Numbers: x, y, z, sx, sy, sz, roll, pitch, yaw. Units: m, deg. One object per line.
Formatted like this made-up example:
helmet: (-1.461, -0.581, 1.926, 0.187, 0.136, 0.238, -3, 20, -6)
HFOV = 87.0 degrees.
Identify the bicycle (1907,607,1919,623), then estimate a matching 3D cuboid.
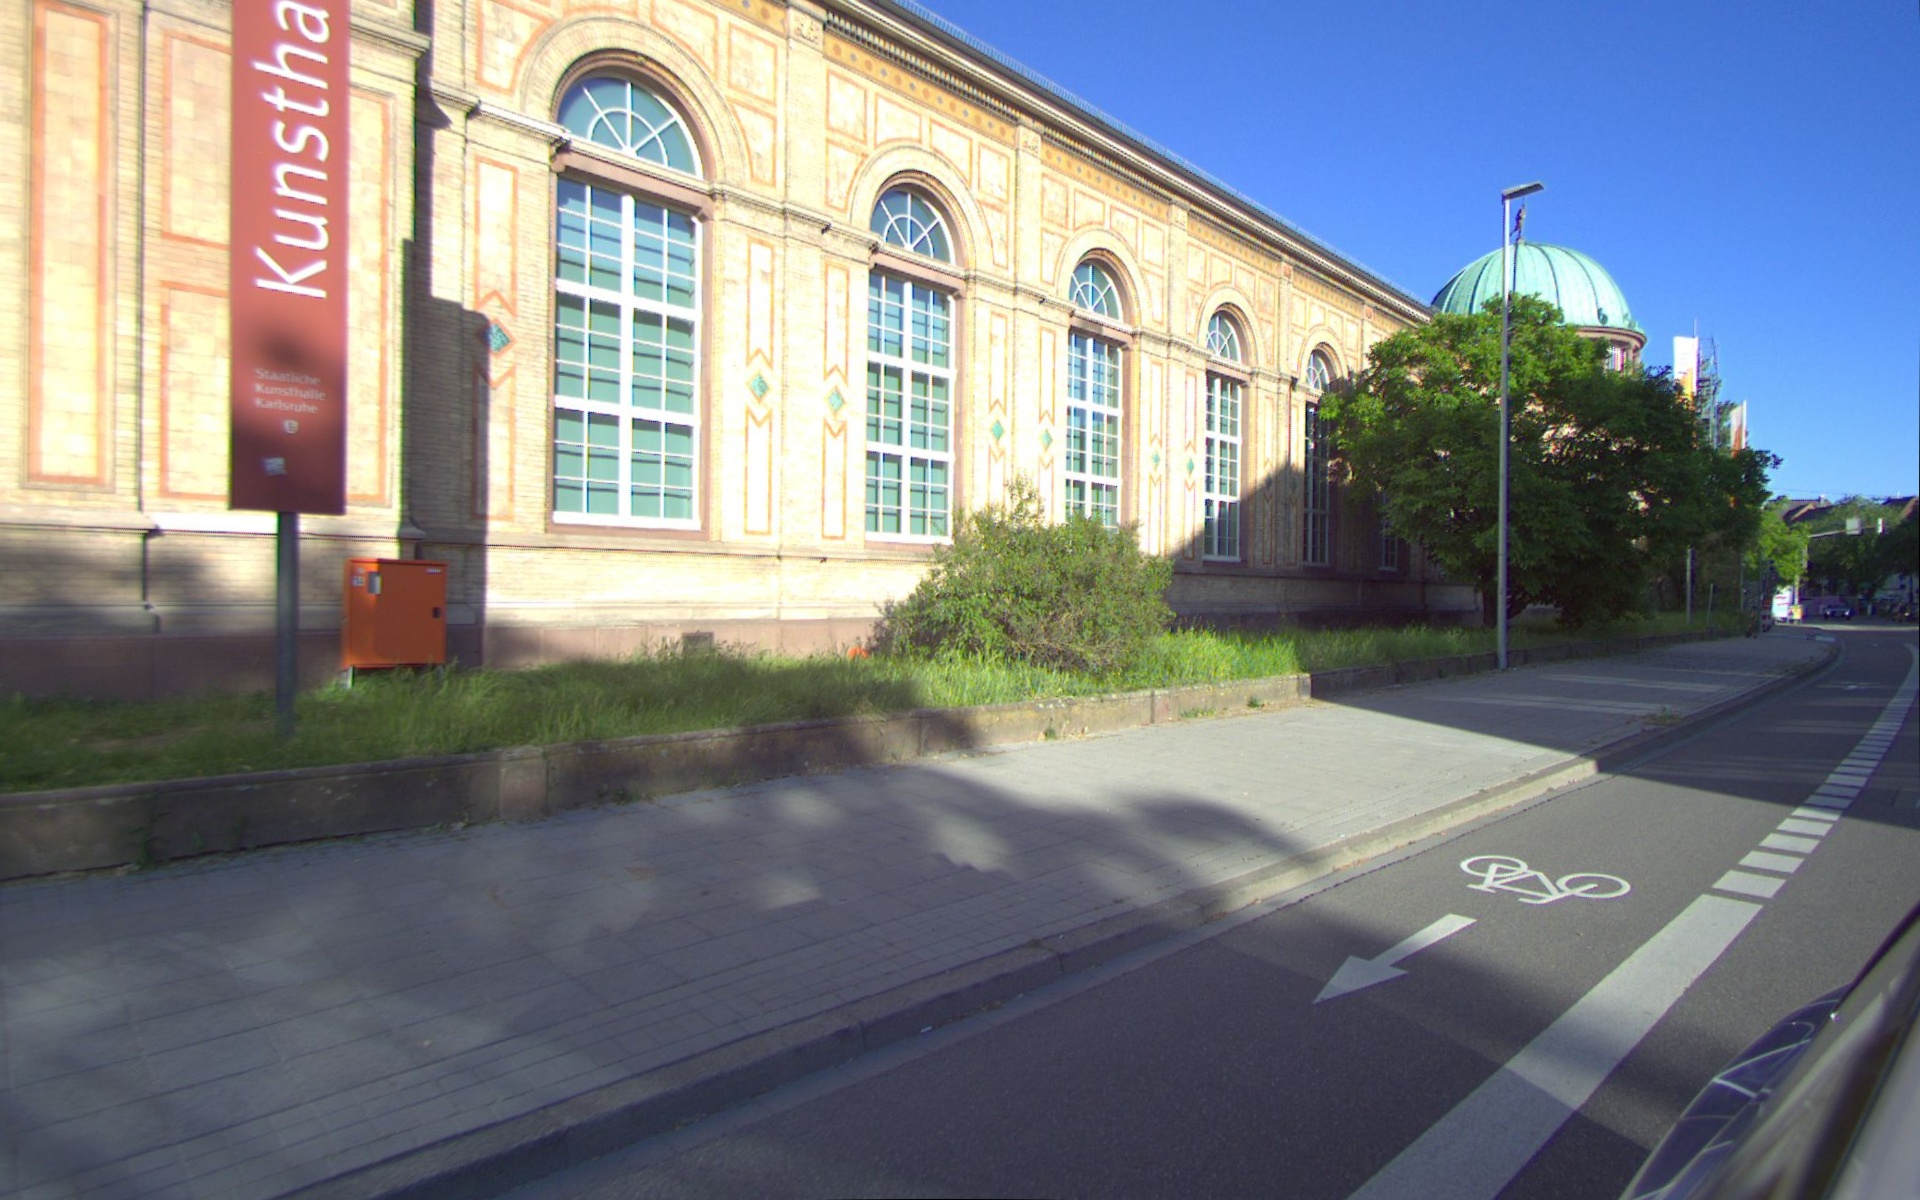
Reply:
bicycle: (66.288, 1.055, 70.200, 0.667, 1.086, 1.729, 0, 0, 38)

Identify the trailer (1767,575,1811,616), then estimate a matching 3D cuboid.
trailer: (55.597, -0.328, 67.942, 2.076, 2.559, 4.429, 4, 2, 38)

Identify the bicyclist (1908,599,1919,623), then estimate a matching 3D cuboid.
bicyclist: (66.331, 0.754, 70.243, 0.671, 1.673, 0.875, 0, 0, 38)

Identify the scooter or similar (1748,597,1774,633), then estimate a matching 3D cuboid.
scooter or similar: (30.198, 0.558, 38.163, 0.555, 1.325, 1.802, 1, 1, 45)

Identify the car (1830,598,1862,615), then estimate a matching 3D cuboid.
car: (75.355, 0.542, 86.082, 1.545, 1.311, 3.594, 5, 3, 34)
